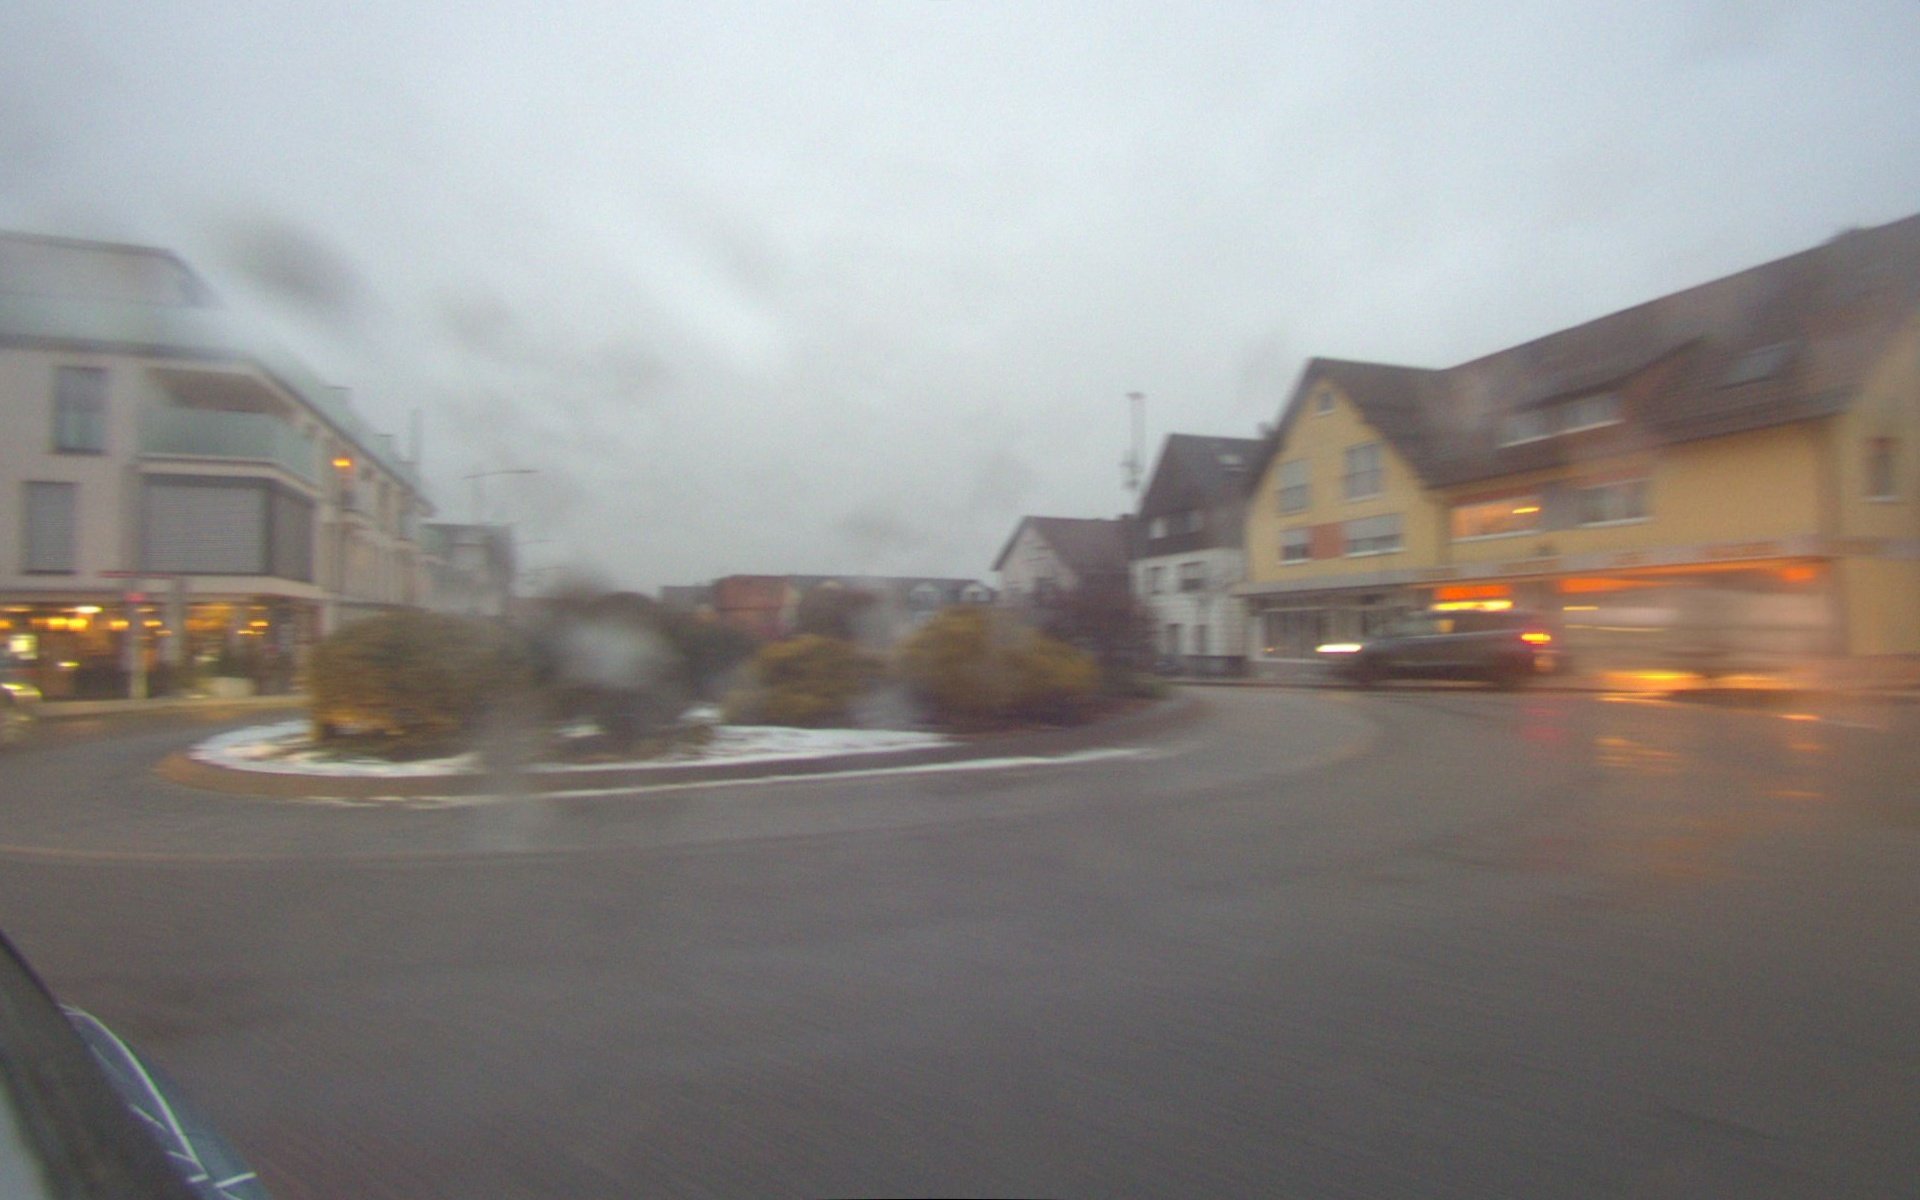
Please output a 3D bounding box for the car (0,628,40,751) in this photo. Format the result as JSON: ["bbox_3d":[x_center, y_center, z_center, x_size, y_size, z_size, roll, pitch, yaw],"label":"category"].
[{"bbox_3d":[-13.213,1.177,11.517,1.922,1.605,4.643,-2,-1,-11],"label":"car"}]

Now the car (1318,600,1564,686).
[{"bbox_3d":[9.872,0.892,21.191,4.330,1.679,1.989,-1,-2,16],"label":"car"}]
